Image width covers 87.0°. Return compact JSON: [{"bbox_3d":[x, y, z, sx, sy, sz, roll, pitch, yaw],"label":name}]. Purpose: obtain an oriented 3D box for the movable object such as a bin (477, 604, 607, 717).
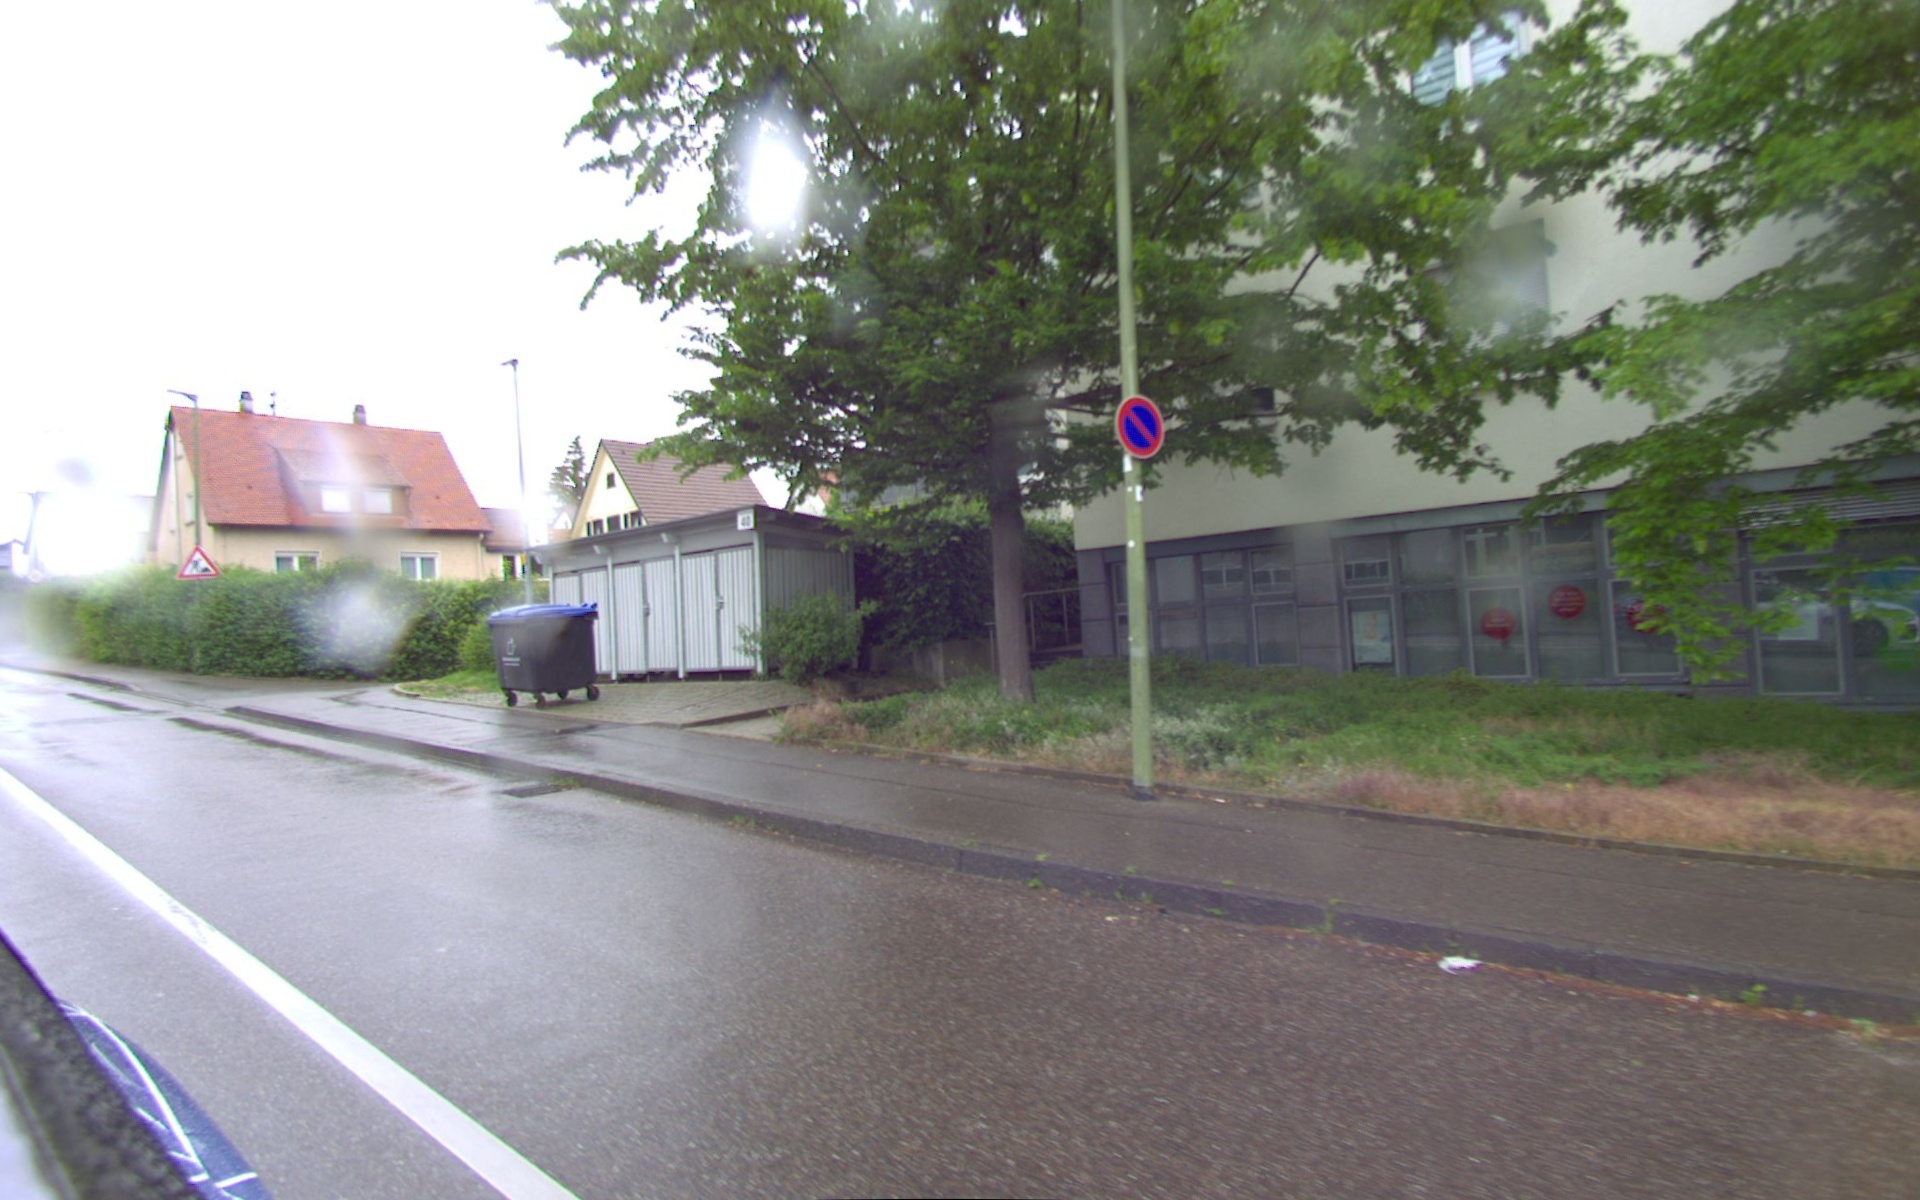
[{"bbox_3d":[-5.502,0.773,13.324,1.201,1.306,1.043,-3,3,41],"label":"movable object such as a bin"}]
